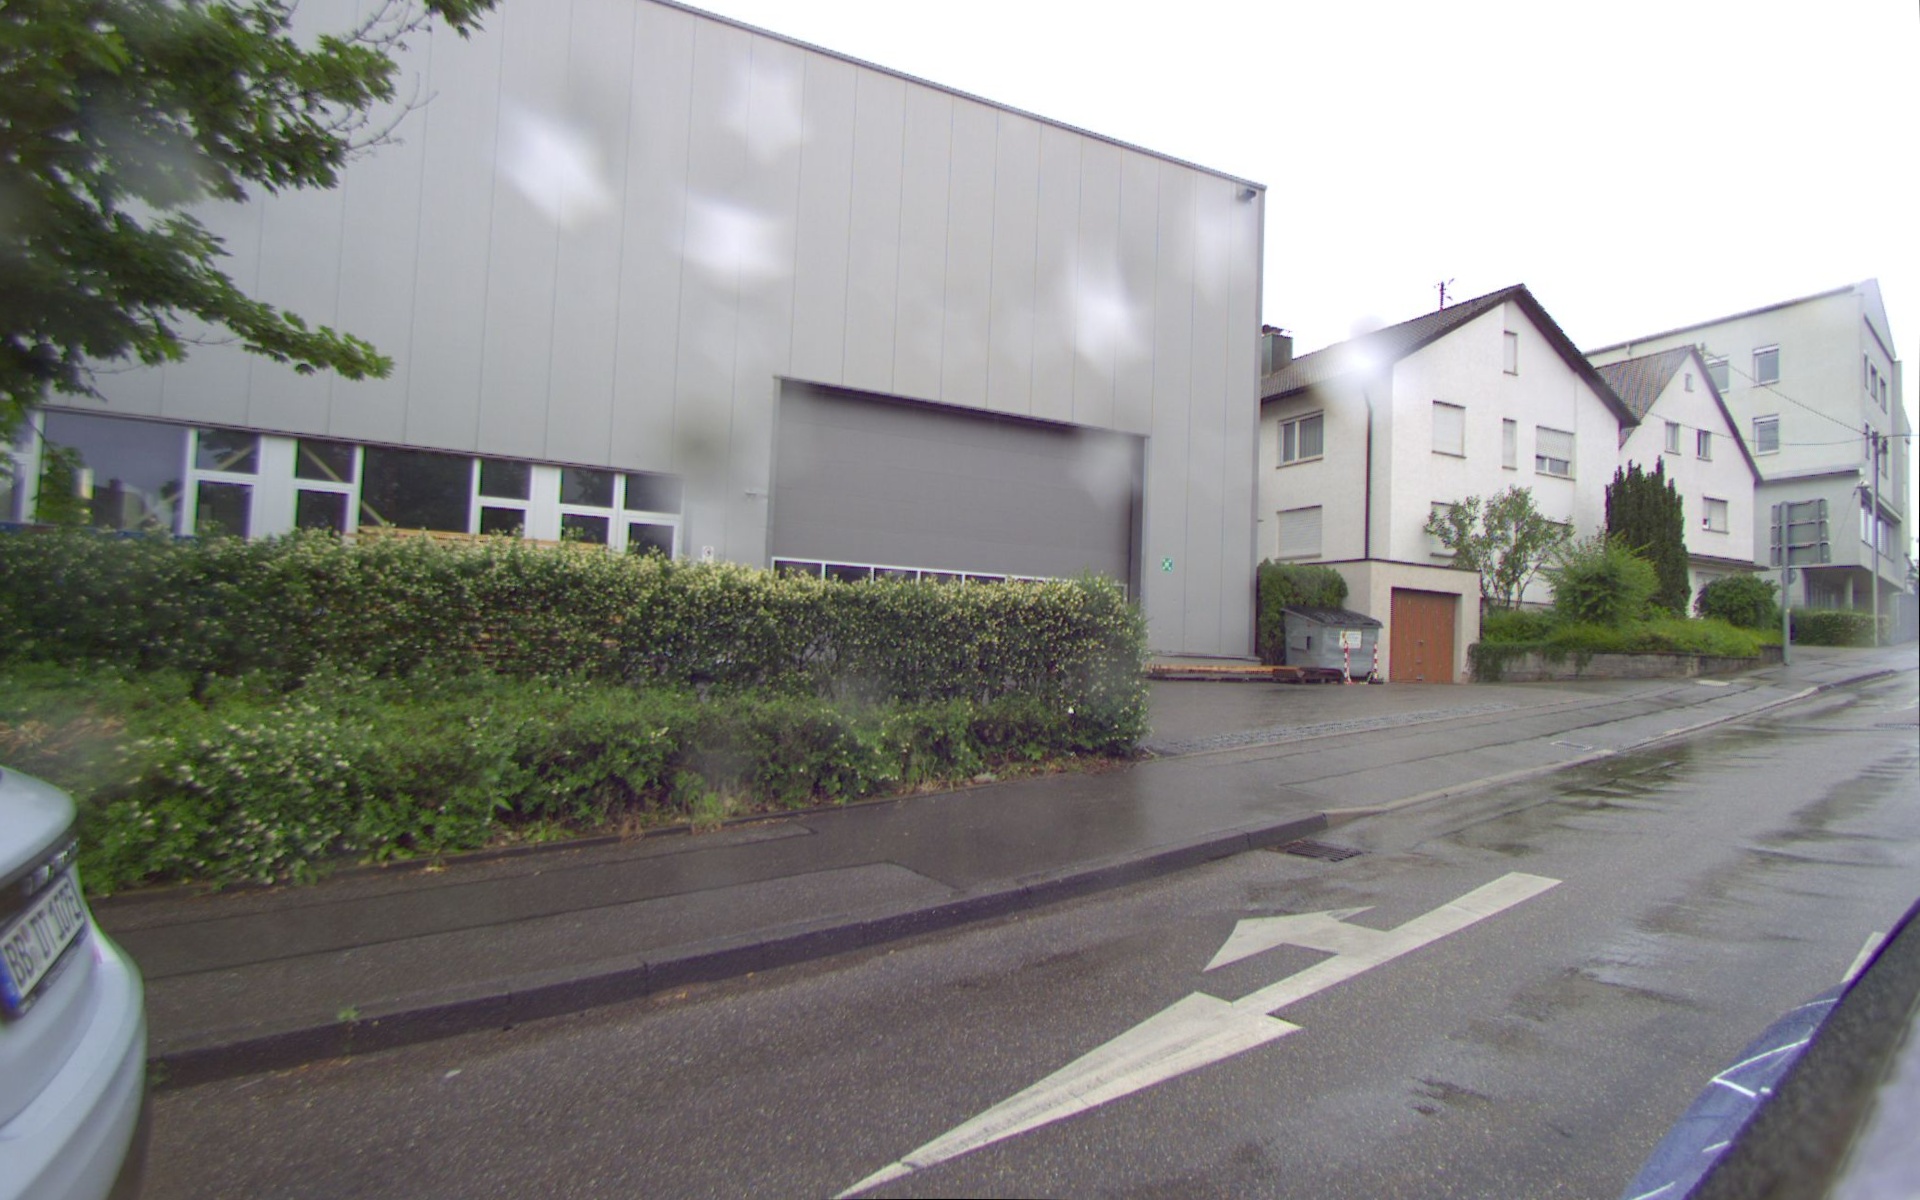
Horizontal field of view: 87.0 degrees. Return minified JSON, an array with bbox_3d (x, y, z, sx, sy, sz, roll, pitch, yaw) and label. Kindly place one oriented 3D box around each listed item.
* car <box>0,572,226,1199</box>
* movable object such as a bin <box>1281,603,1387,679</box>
[{"bbox_3d":[-3.130,0.698,0.910,3.829,1.574,1.695,2,-1,-32],"label":"car"},{"bbox_3d":[8.060,0.879,21.875,1.556,1.555,1.451,2,-1,-25],"label":"movable object such as a bin"}]
